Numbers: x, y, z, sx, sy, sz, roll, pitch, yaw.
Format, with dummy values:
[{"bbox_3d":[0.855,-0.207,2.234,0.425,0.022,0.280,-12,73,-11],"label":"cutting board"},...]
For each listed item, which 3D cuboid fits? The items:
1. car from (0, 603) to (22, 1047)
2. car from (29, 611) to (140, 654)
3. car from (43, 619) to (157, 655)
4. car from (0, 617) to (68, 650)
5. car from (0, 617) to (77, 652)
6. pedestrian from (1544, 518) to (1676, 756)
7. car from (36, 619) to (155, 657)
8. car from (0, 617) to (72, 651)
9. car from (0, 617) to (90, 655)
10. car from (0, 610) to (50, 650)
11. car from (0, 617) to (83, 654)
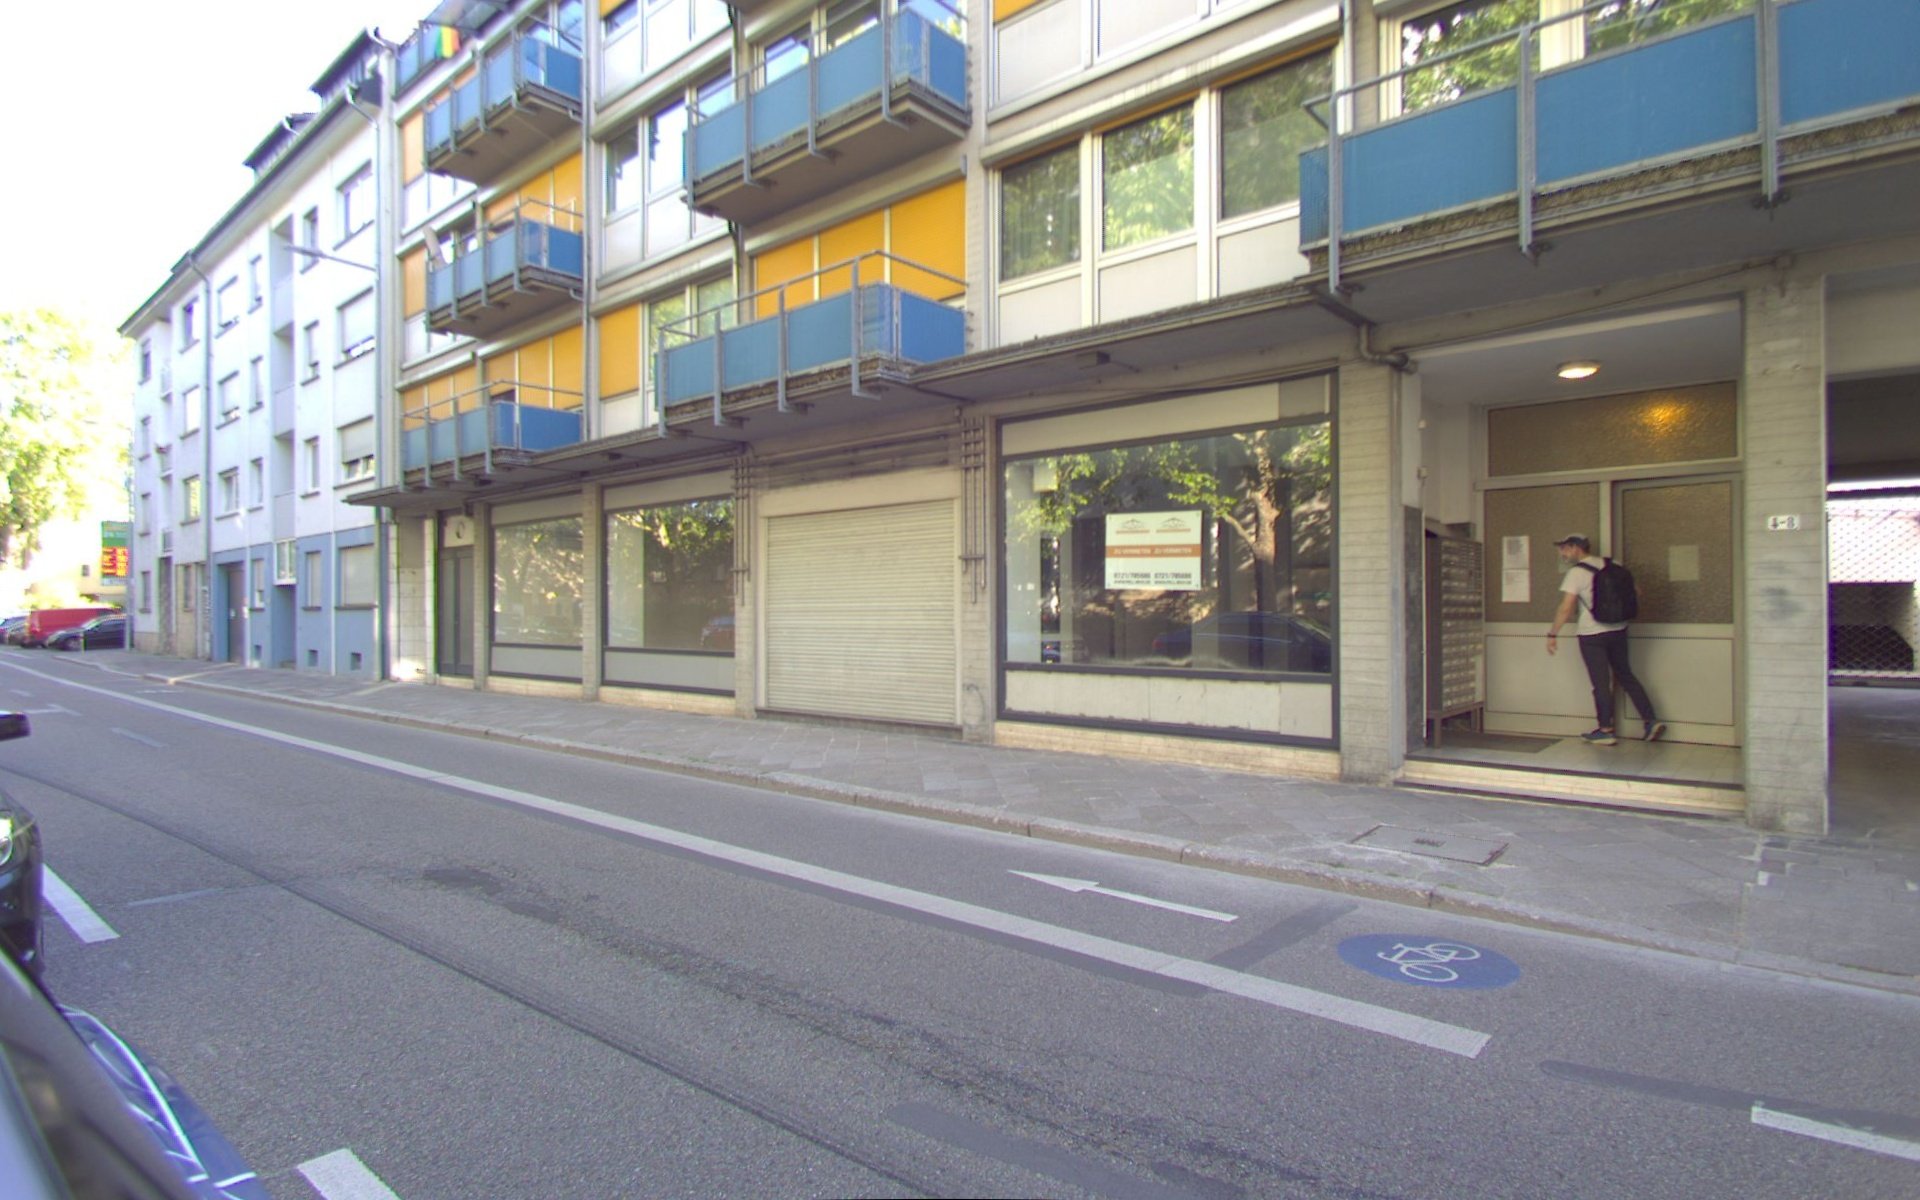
[{"bbox_3d":[-5.526,0.807,4.279,4.479,1.512,1.842,-1,-1,41],"label":"car"},{"bbox_3d":[-43.434,1.570,50.250,2.000,1.962,3.944,-1,0,42],"label":"car"},{"bbox_3d":[-41.179,1.741,48.525,2.000,1.564,3.944,-1,0,42],"label":"car"},{"bbox_3d":[-59.212,2.106,64.014,2.000,1.962,3.944,-1,0,42],"label":"car"},{"bbox_3d":[-55.606,2.060,60.563,2.000,1.962,3.944,-1,0,42],"label":"car"},{"bbox_3d":[5.459,0.294,8.512,0.573,1.894,0.787,-1,0,-42],"label":"pedestrian"},{"bbox_3d":[-39.761,1.722,46.604,2.000,1.564,3.944,-1,0,42],"label":"car"},{"bbox_3d":[-57.412,2.083,62.281,2.000,1.962,3.944,-1,0,42],"label":"car"},{"bbox_3d":[-51.575,2.008,56.828,2.000,1.962,3.944,-1,0,42],"label":"car"},{"bbox_3d":[-62.803,1.953,66.783,2.000,2.538,3.944,-1,0,42],"label":"car"},{"bbox_3d":[-53.525,2.033,58.610,2.000,1.962,3.944,-1,0,42],"label":"car"}]
